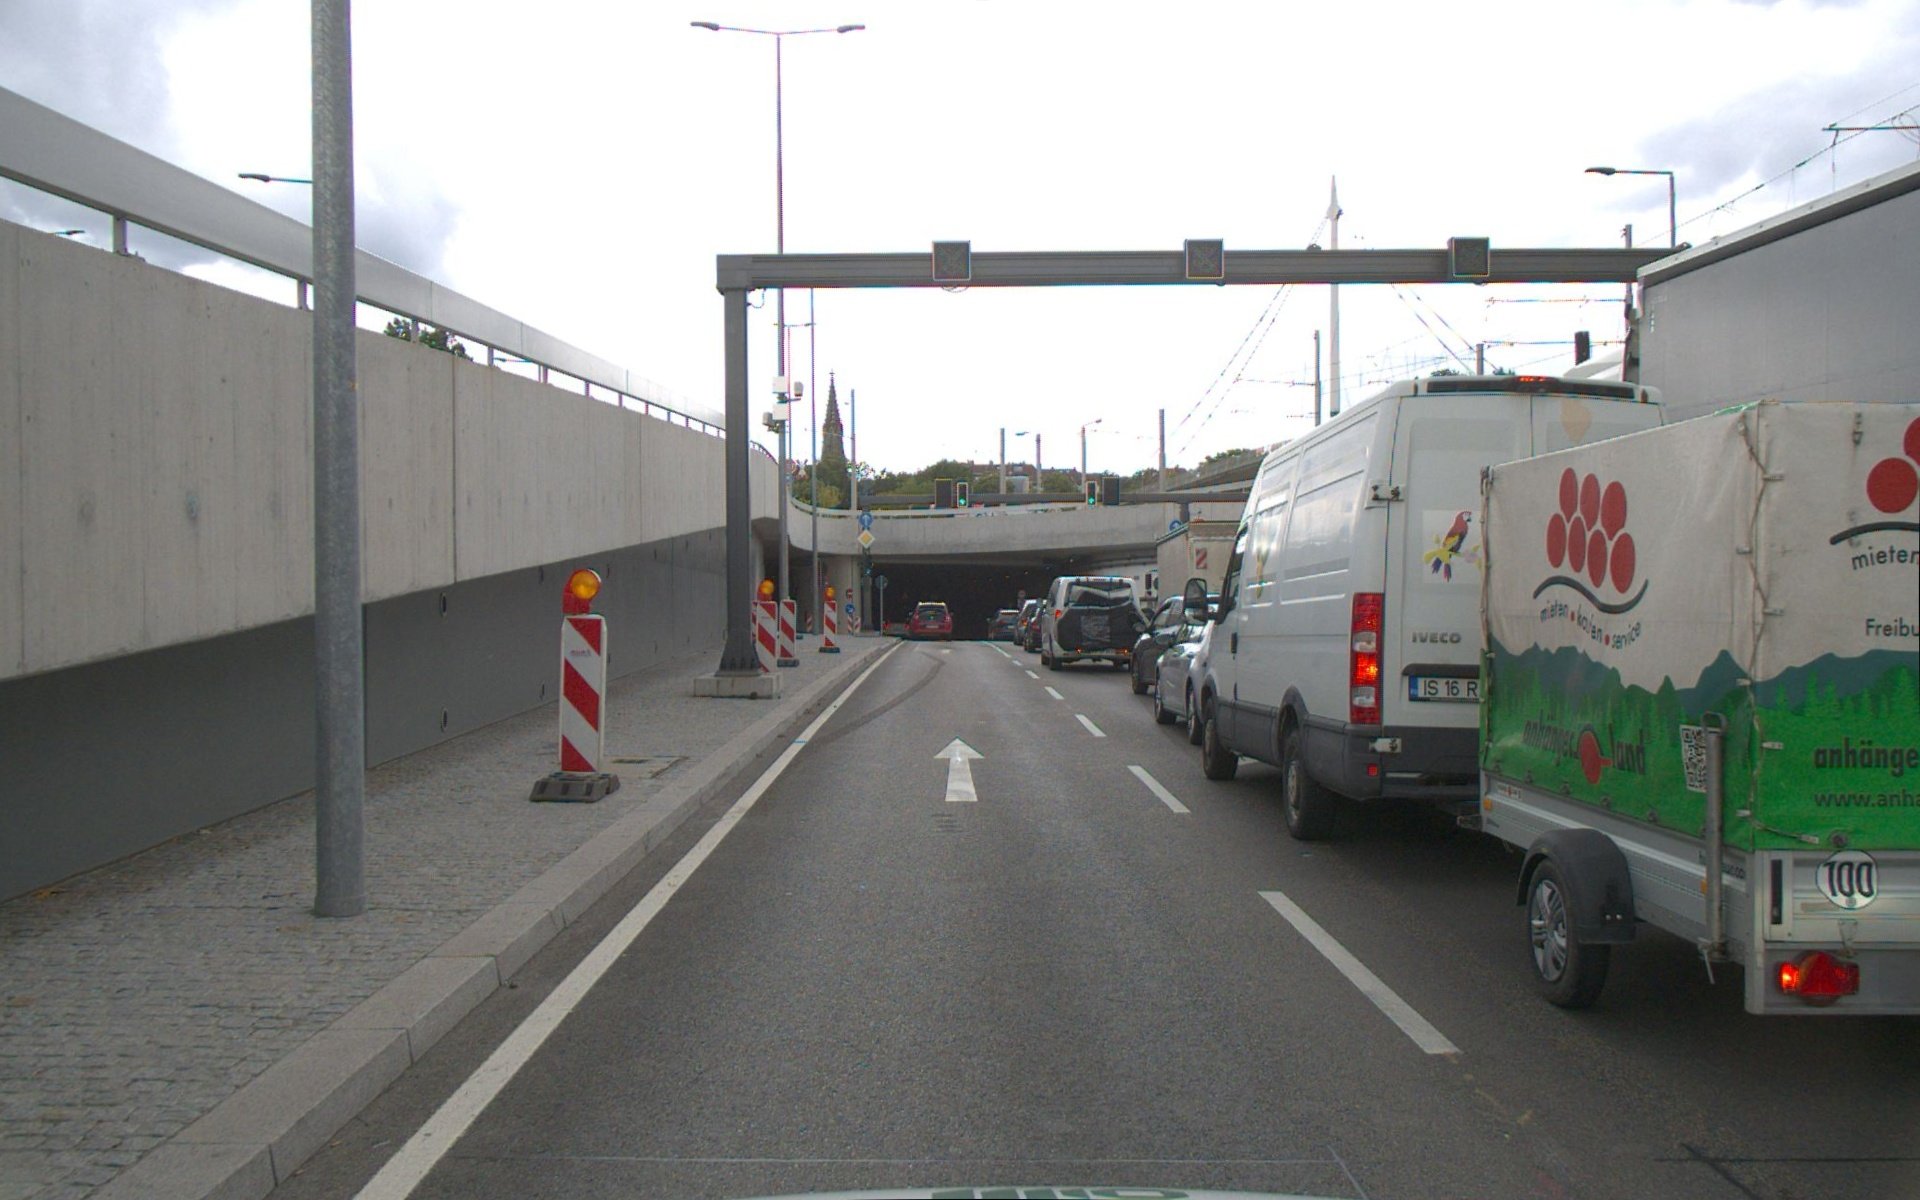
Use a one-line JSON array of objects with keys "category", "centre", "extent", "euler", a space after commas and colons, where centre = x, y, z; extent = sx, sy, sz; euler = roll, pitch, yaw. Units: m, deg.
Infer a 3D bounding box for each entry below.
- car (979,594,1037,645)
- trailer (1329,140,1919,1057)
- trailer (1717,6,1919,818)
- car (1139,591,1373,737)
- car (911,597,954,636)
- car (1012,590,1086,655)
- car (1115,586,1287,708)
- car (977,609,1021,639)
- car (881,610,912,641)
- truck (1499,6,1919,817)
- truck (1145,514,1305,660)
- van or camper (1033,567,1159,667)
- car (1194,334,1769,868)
[{"category": "car", "centre": [1.655, 0.685, 58.162], "extent": [1.782, 1.608, 3.999], "euler": [3, -1, -1]}, {"category": "trailer", "centre": [3.149, 0.018, 7.249], "extent": [2.060, 2.685, 4.810], "euler": [0, -1, 1]}, {"category": "trailer", "centre": [7.470, -1.056, 5.951], "extent": [3.727, 4.712, 12.111], "euler": [1, 0, -1]}, {"category": "car", "centre": [3.115, 0.644, 18.183], "extent": [1.728, 1.407, 4.037], "euler": [-1, -1, -2]}, {"category": "car", "centre": [-1.130, 0.681, 67.149], "extent": [1.627, 1.514, 3.564], "euler": [0, -2, -3]}, {"category": "car", "centre": [2.483, 0.598, 47.126], "extent": [1.782, 1.713, 3.999], "euler": [1, 0, -1]}, {"category": "car", "centre": [3.371, 0.611, 23.778], "extent": [1.649, 1.572, 3.690], "euler": [1, 0, -4]}, {"category": "car", "centre": [1.714, 1.071, 73.706], "extent": [1.631, 1.269, 3.564], "euler": [0, -2, -4]}, {"category": "car", "centre": [-4.336, 1.700, 112.143], "extent": [1.954, 2.049, 3.997], "euler": [0, 0, -4]}, {"category": "truck", "centre": [7.370, -1.081, 12.932], "extent": [3.727, 4.712, 7.441], "euler": [1, 0, -1]}, {"category": "truck", "centre": [6.350, -0.255, 40.723], "extent": [2.596, 3.241, 7.424], "euler": [-1, -1, -1]}, {"category": "van or camper", "centre": [2.720, 0.413, 34.207], "extent": [1.953, 1.878, 5.505], "euler": [1, -2, -2]}, {"category": "car", "centre": [3.147, 0.033, 11.605], "extent": [2.016, 2.674, 5.941], "euler": [3, -1, 0]}]
